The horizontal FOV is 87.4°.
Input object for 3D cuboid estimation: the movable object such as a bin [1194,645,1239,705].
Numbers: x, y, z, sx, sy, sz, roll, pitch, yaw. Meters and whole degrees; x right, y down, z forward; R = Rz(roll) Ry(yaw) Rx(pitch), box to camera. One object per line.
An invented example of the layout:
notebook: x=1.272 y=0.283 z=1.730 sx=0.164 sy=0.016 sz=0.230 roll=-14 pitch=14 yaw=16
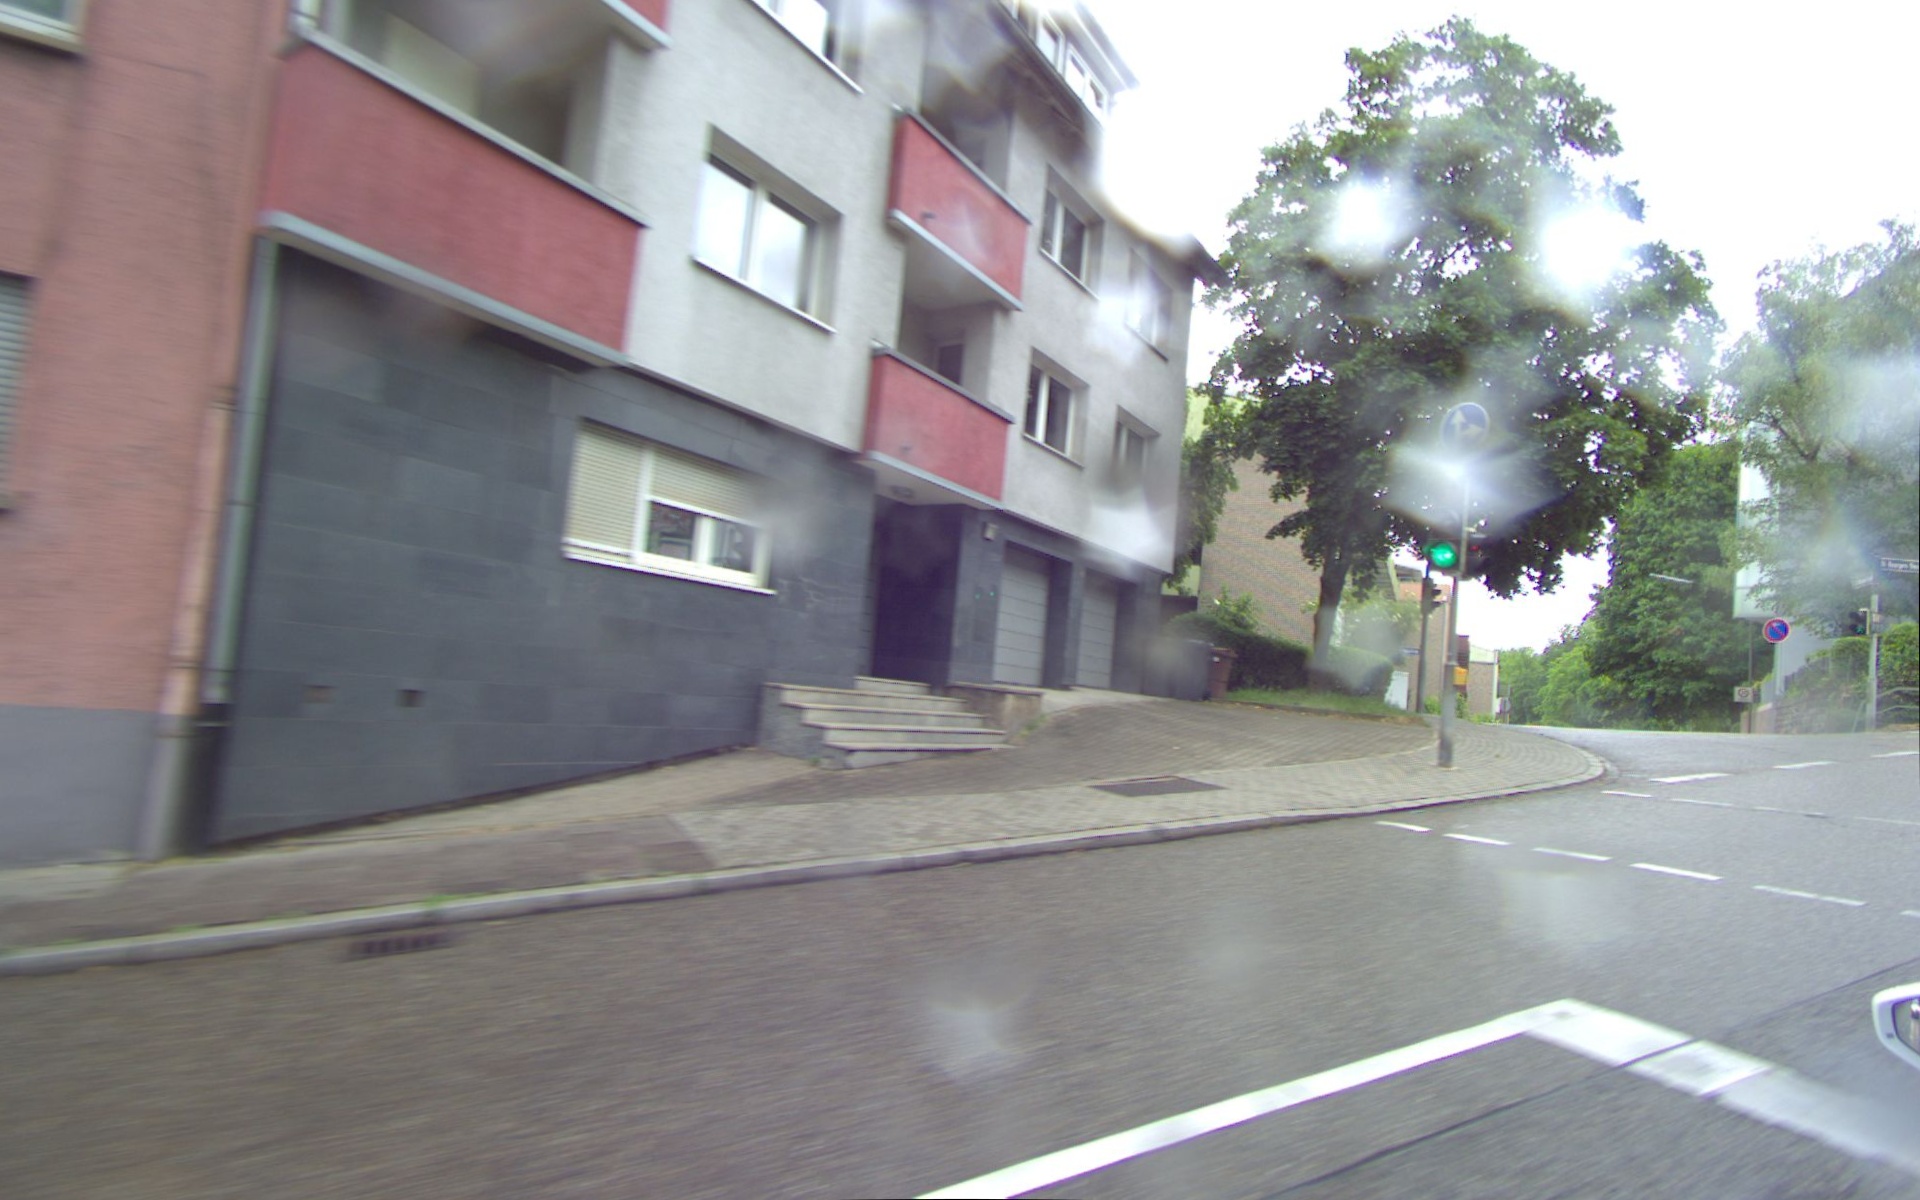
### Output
movable object such as a bin: x=4.668 y=1.363 z=18.289 sx=0.620 sy=1.029 sz=0.499 roll=2 pitch=-2 yaw=37

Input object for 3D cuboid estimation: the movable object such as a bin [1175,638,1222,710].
movable object such as a bin: x=4.232 y=1.303 z=17.826 sx=0.552 sy=1.215 sz=0.687 roll=2 pitch=-2 yaw=36

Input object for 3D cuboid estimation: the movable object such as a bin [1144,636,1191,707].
movable object such as a bin: x=3.755 y=1.288 z=18.150 sx=0.552 sy=1.215 sz=0.687 roll=2 pitch=-2 yaw=36
